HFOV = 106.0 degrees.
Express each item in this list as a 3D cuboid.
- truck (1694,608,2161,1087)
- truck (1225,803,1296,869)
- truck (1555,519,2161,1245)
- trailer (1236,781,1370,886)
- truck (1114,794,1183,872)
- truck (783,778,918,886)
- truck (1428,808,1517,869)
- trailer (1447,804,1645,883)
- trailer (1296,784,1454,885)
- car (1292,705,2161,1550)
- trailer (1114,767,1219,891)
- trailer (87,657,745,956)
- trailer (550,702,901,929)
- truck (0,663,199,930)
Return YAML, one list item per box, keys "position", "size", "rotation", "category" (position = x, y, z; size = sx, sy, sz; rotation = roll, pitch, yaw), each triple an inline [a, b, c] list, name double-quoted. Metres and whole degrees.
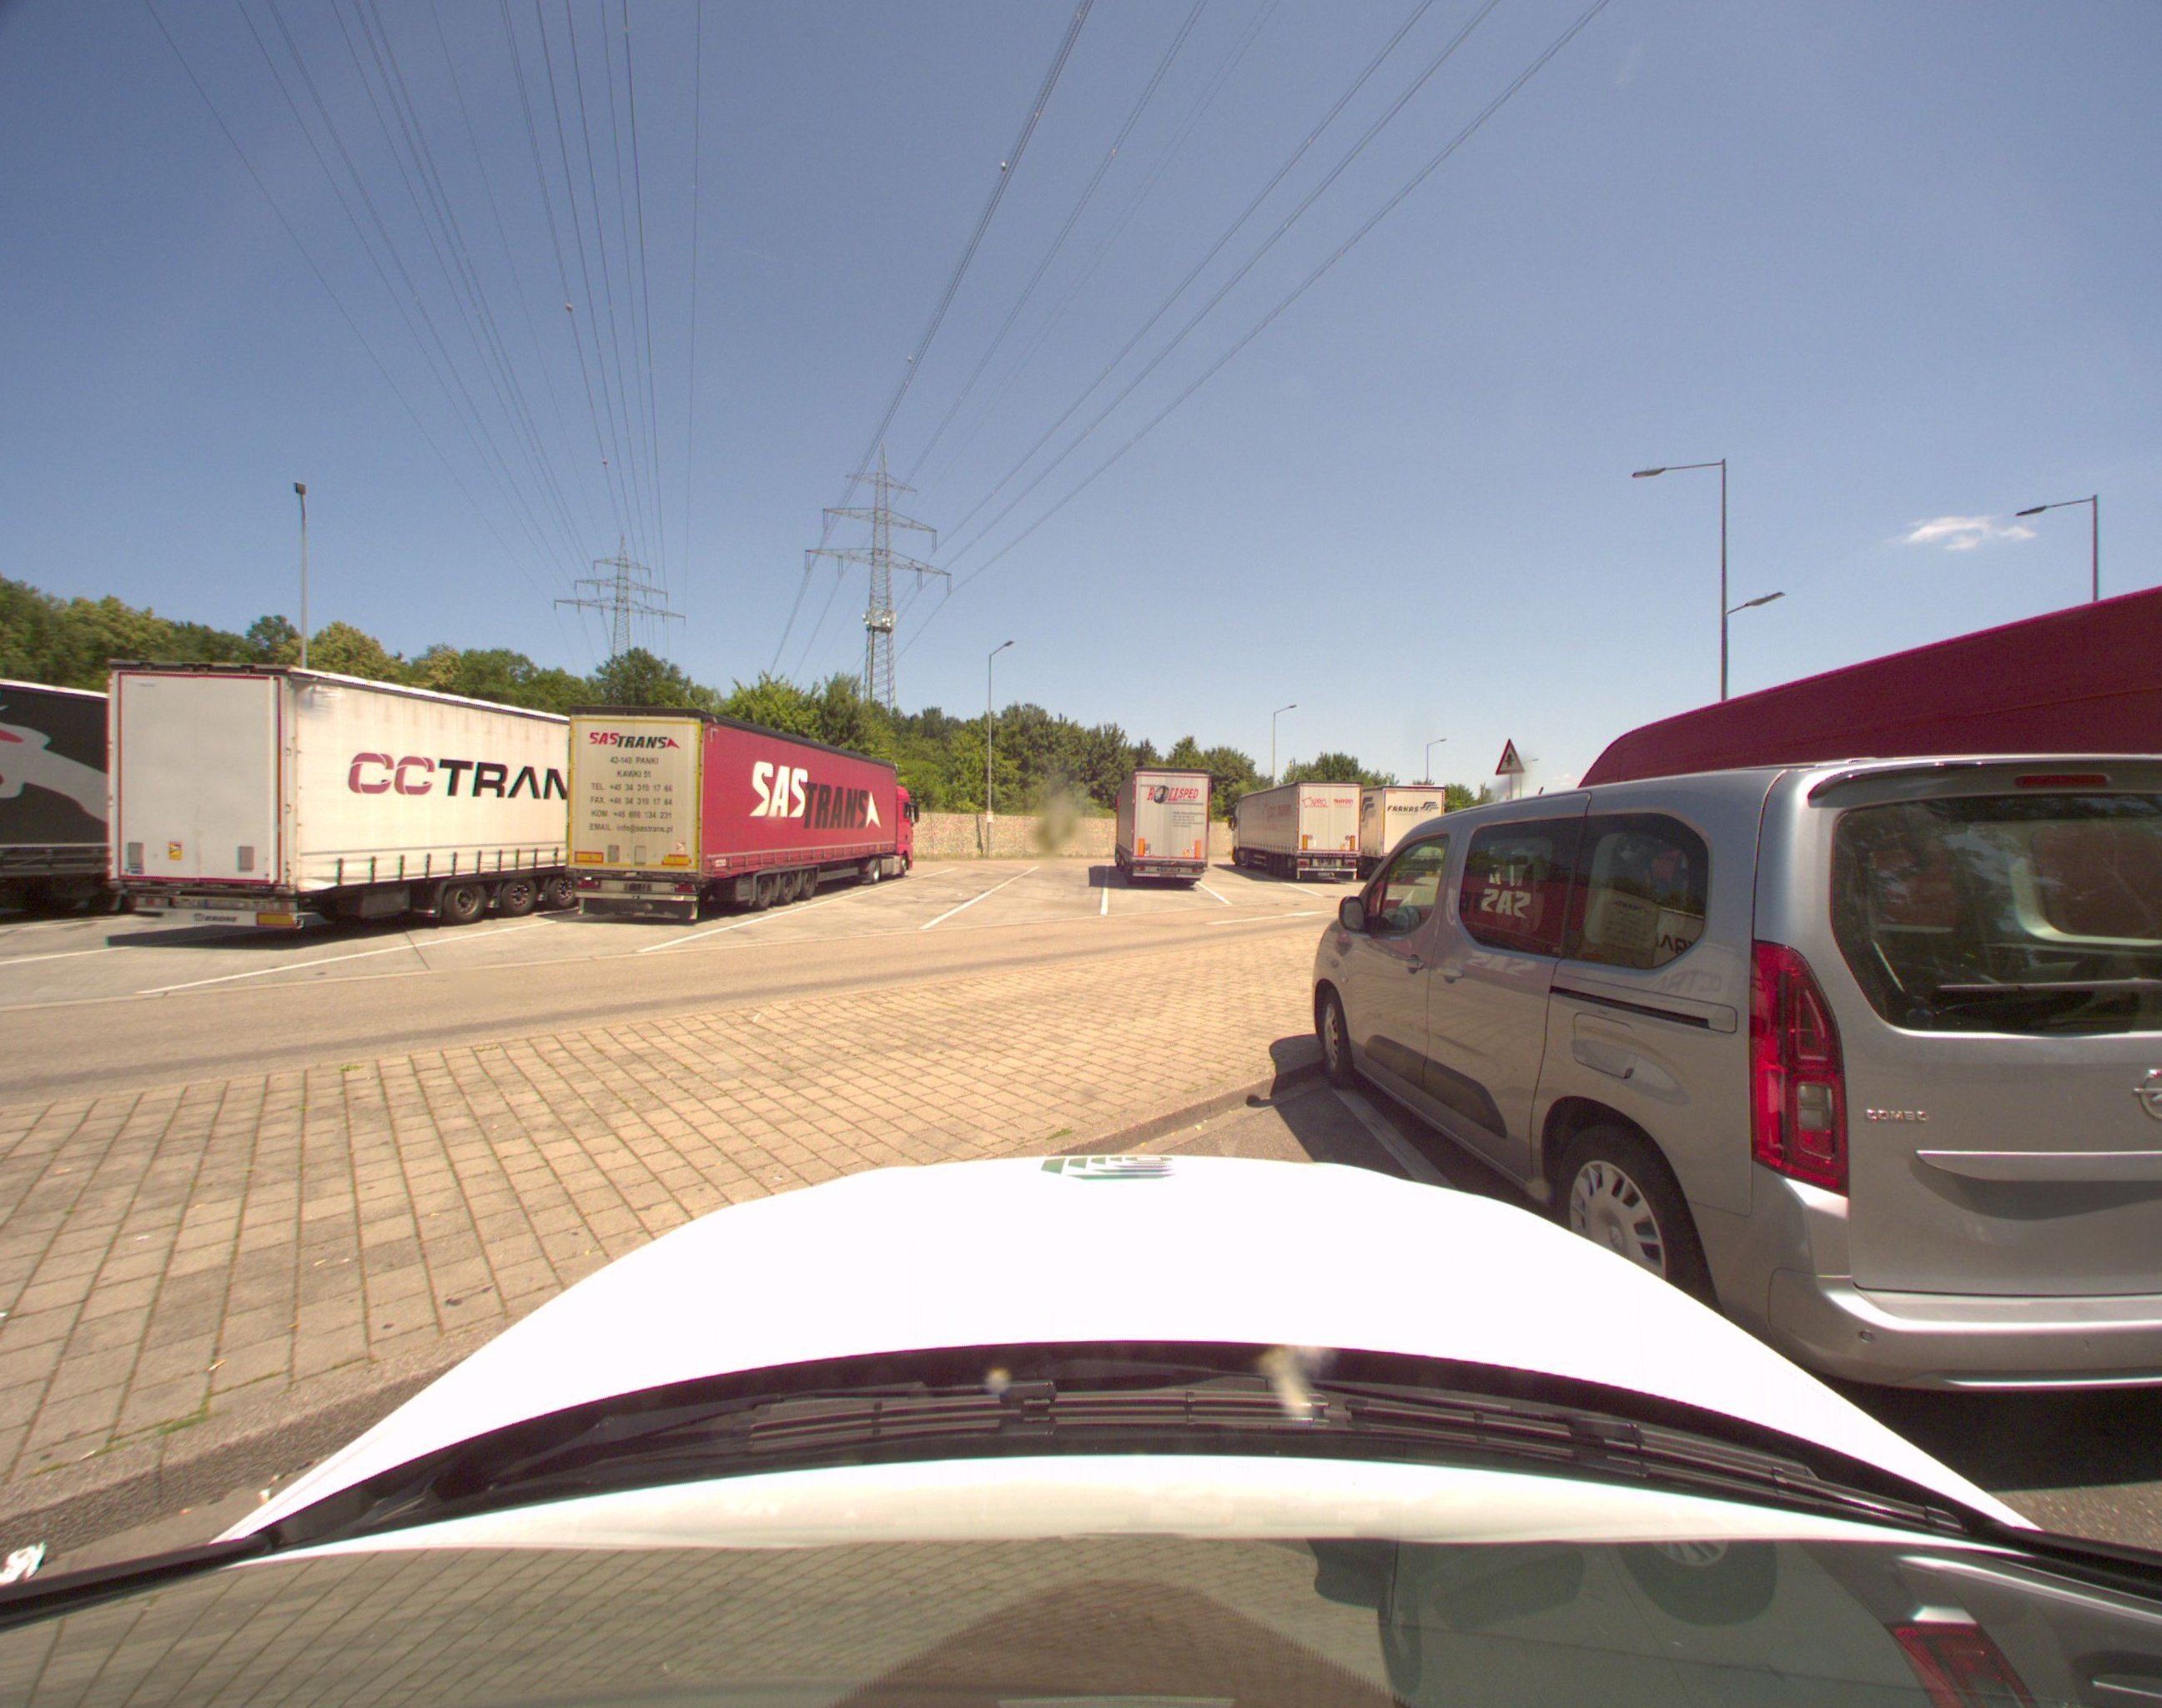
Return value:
- position: [7.988, -0.035, 6.464]
  size: [2.444, 2.912, 5.663]
  rotation: [-1, -1, 7]
  category: "truck"
- position: [10.192, -1.077, 46.754]
  size: [2.852, 3.521, 5.903]
  rotation: [1, 2, 2]
  category: "truck"
- position: [5.132, 0.121, 4.916]
  size: [1.968, 2.622, 5.314]
  rotation: [0, -1, 7]
  category: "truck"
- position: [9.929, -1.046, 38.653]
  size: [2.801, 3.989, 14.403]
  rotation: [1, 2, 2]
  category: "trailer"
- position: [3.229, -1.081, 40.599]
  size: [3.092, 3.566, 5.903]
  rotation: [1, 2, 2]
  category: "truck"
- position: [-7.817, -0.783, 28.486]
  size: [2.840, 3.327, 5.903]
  rotation: [1, 2, 2]
  category: "truck"
- position: [24.356, -1.009, 50.993]
  size: [2.792, 3.521, 5.903]
  rotation: [1, 2, 2]
  category: "truck"
- position: [24.099, -0.737, 43.762]
  size: [2.801, 3.507, 14.403]
  rotation: [1, 2, 2]
  category: "trailer"
- position: [13.602, -1.038, 39.616]
  size: [2.801, 3.989, 14.403]
  rotation: [1, 2, 2]
  category: "trailer"
- position: [2.486, 0.577, 3.893]
  size: [1.864, 1.863, 4.176]
  rotation: [1, 1, 0]
  category: "car"
- position: [3.063, -1.064, 33.705]
  size: [3.122, 3.989, 14.401]
  rotation: [1, 2, 1]
  category: "trailer"
- position: [-12.130, -0.909, 18.347]
  size: [2.785, 4.084, 14.139]
  rotation: [1, 2, 2]
  category: "trailer"
- position: [-8.065, -0.945, 21.916]
  size: [2.781, 4.084, 14.139]
  rotation: [1, 2, 2]
  category: "trailer"
- position: [-18.543, -0.966, 13.795]
  size: [2.726, 4.239, 3.997]
  rotation: [1, 2, 2]
  category: "truck"
